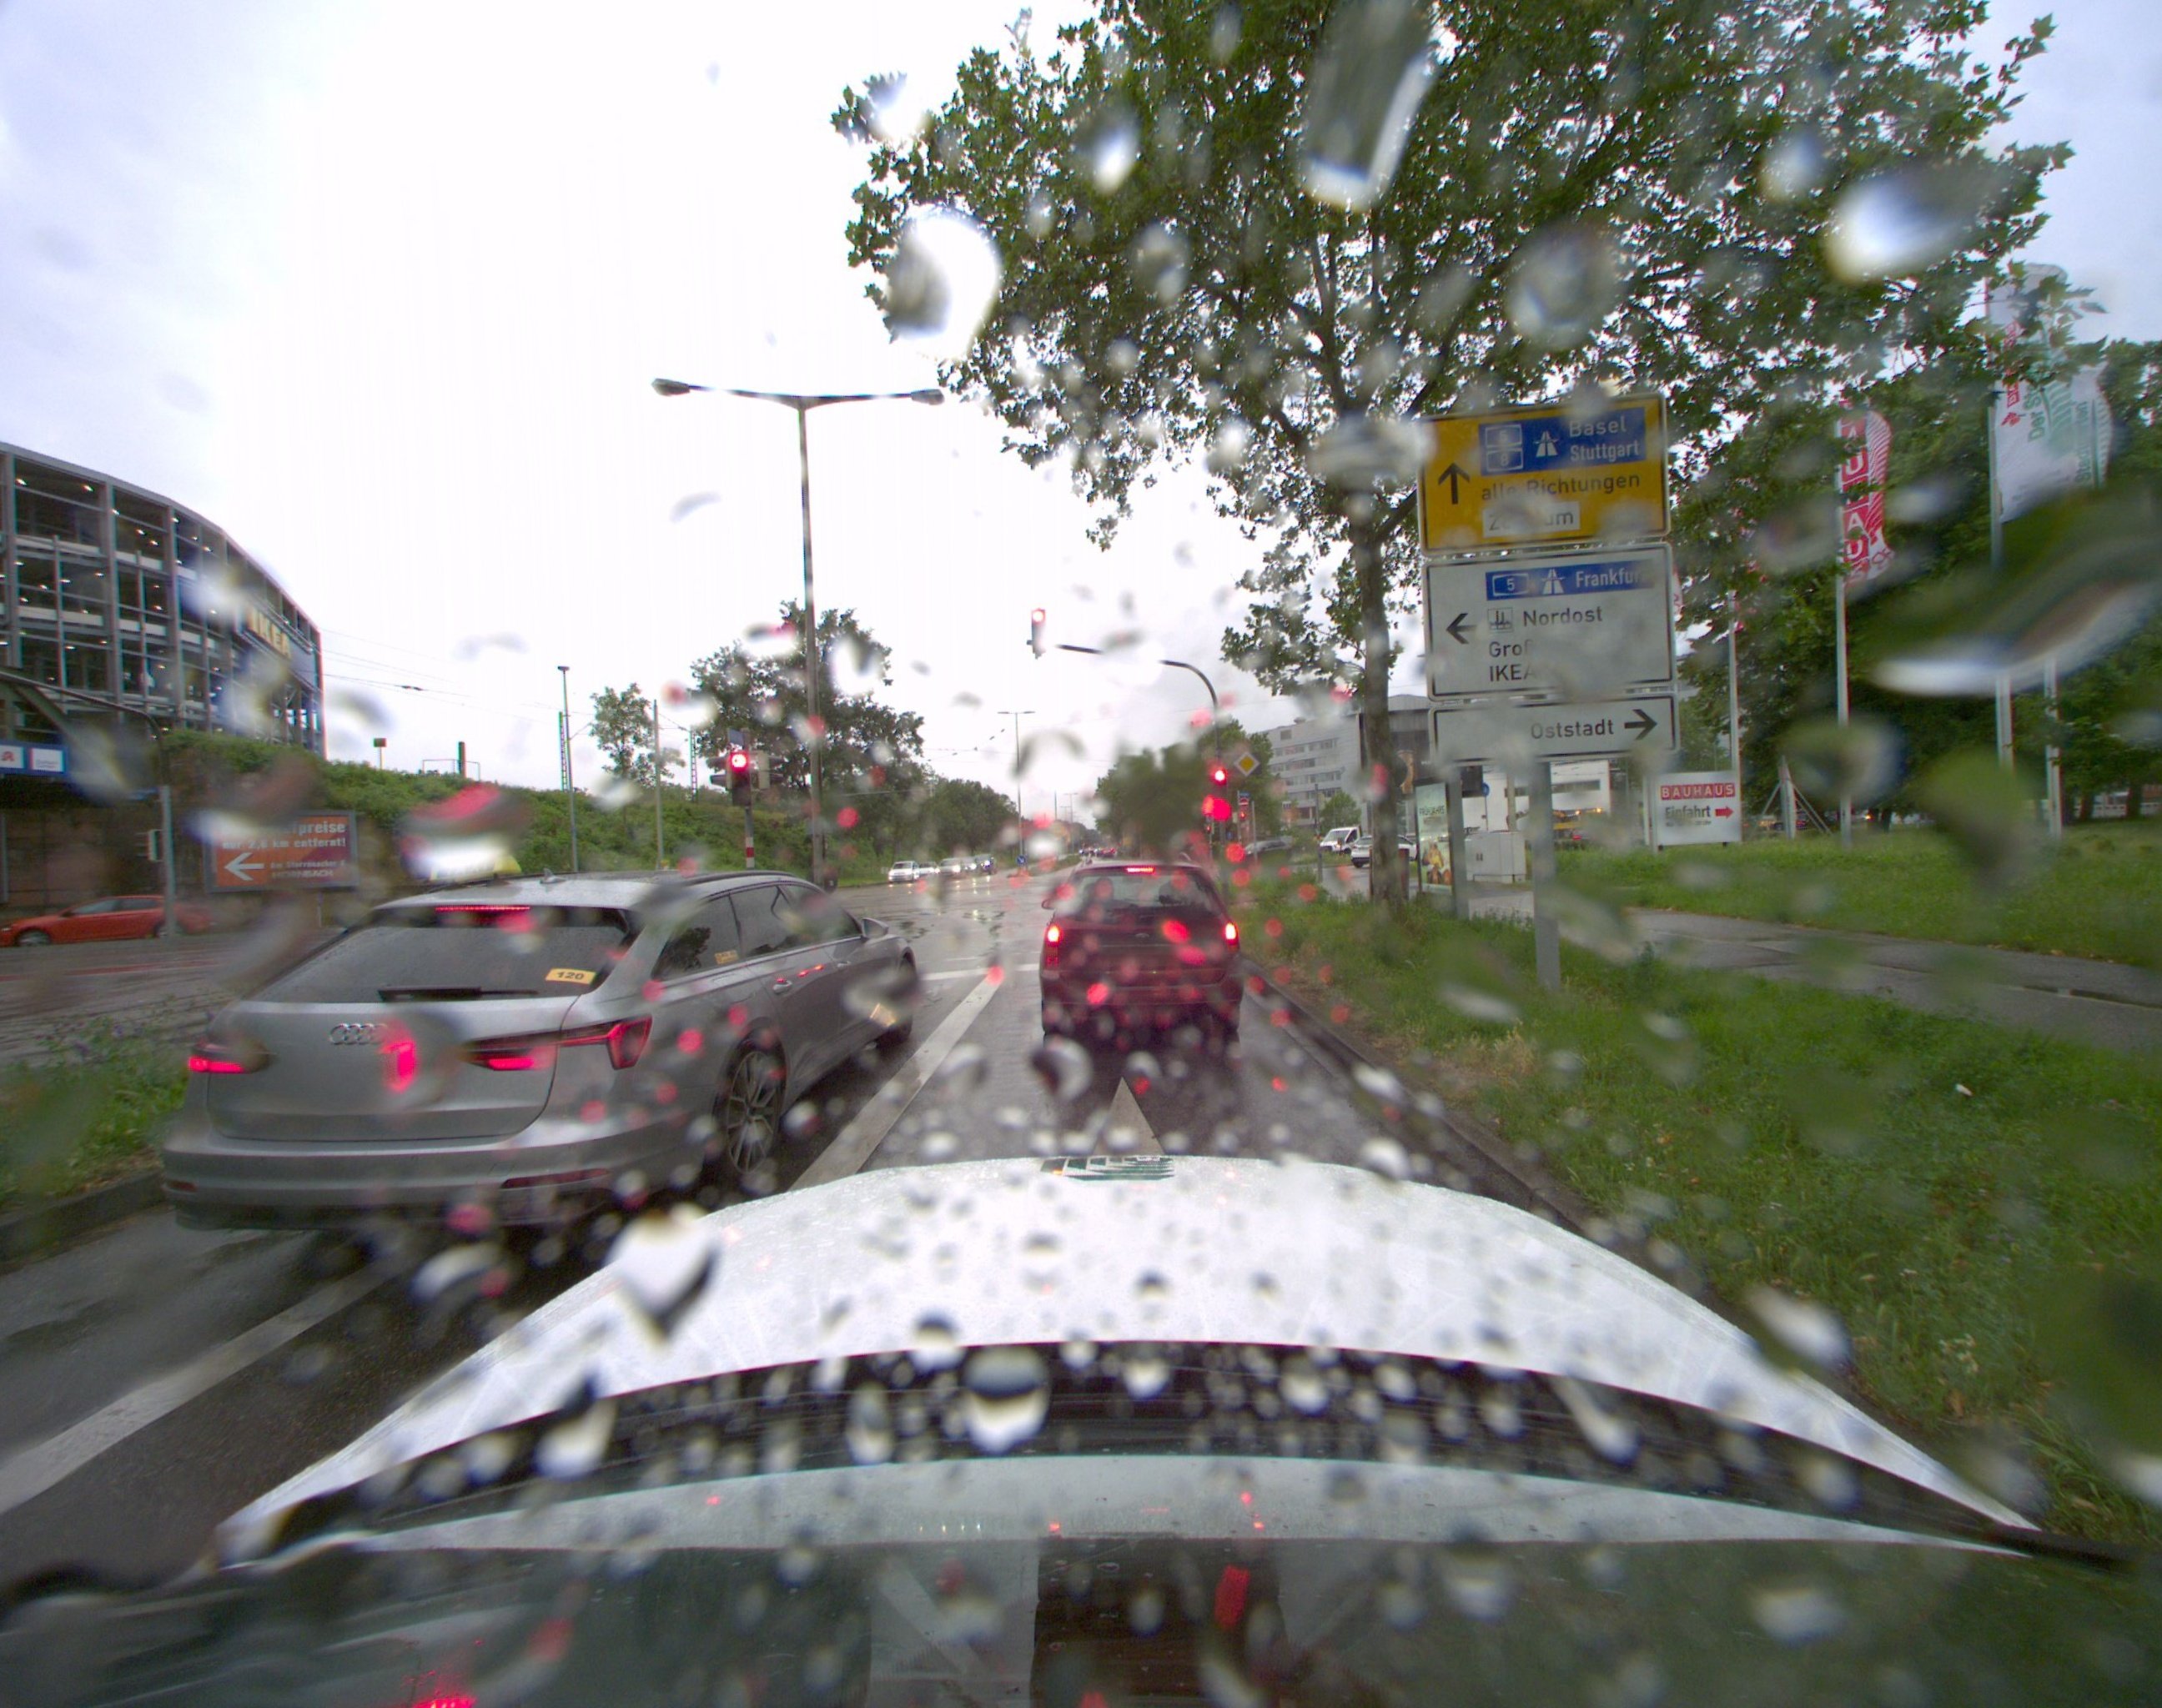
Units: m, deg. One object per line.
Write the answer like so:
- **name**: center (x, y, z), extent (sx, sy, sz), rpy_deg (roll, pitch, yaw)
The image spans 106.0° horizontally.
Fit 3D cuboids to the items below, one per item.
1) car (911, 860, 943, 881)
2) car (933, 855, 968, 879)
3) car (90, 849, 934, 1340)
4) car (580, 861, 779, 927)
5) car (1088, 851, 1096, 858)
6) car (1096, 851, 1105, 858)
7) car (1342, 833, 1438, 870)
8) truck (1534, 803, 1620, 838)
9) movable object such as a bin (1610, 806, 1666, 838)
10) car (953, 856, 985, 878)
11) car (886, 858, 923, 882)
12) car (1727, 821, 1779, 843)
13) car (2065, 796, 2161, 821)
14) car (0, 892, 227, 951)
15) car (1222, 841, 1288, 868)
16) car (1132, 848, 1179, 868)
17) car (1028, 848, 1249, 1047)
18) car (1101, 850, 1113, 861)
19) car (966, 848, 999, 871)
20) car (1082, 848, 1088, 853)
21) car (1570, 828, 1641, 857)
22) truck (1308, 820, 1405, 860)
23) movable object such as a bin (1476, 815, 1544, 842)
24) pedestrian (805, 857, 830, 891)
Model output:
- **car**: center (-11.636, 1.218, 61.871), extent (1.585, 1.404, 3.823), rpy_deg (-3, 0, 1)
- **car**: center (-8.995, 0.869, 56.525), extent (1.632, 1.473, 3.966), rpy_deg (-3, 0, 1)
- **car**: center (-2.276, 0.766, 5.044), extent (1.763, 1.574, 4.822), rpy_deg (0, 0, 1)
- **car**: center (-11.262, 1.061, 22.964), extent (4.847, 1.491, 1.908), rpy_deg (-2, 0, -32)
- **car**: center (2.598, 0.160, 199.289), extent (1.691, 1.528, 3.849), rpy_deg (-3, 0, 3)
- **car**: center (4.543, 0.089, 189.008), extent (1.691, 1.528, 3.849), rpy_deg (-3, 0, 3)
- **car**: center (14.738, -0.142, 38.752), extent (4.644, 1.586, 1.907), rpy_deg (-2, -1, -34)
- **truck**: center (57.980, -3.841, 95.381), extent (3.342, 3.507, 7.806), rpy_deg (-3, 0, -33)
- **movable object such as a bin**: center (66.857, -3.853, 97.651), extent (6.347, 3.507, 3.293), rpy_deg (-3, 0, -34)
- **car**: center (-8.723, 0.985, 63.762), extent (1.756, 1.586, 4.813), rpy_deg (-3, -1, 0)
- **car**: center (-11.967, 1.056, 55.551), extent (1.633, 1.452, 3.786), rpy_deg (-3, 0, 0)
- **car**: center (53.142, -1.725, 64.418), extent (4.645, 1.586, 1.907), rpy_deg (-2, -1, -34)
- **car**: center (88.548, -3.913, 69.309), extent (2.286, 1.731, 5.899), rpy_deg (-3, 0, -33)
- **car**: center (-28.339, 1.923, 23.895), extent (4.229, 1.374, 1.728), rpy_deg (-2, -1, -35)
- **car**: center (11.425, 0.005, 53.285), extent (4.264, 1.559, 1.728), rpy_deg (-3, 0, -35)
- **car**: center (6.675, 0.358, 73.284), extent (2.011, 1.790, 3.952), rpy_deg (0, -1, -42)
- **car**: center (0.459, 0.717, 7.926), extent (1.636, 1.465, 3.732), rpy_deg (0, -1, 1)
- **car**: center (3.948, 0.225, 121.986), extent (1.664, 1.528, 3.849), rpy_deg (-3, 0, 3)
- **car**: center (-8.648, 0.446, 71.870), extent (2.058, 1.819, 5.542), rpy_deg (-3, 0, 1)
- **car**: center (1.161, -1.040, 244.878), extent (1.691, 1.528, 3.849), rpy_deg (-3, 0, 3)
- **car**: center (31.893, -0.701, 49.477), extent (4.645, 1.586, 1.907), rpy_deg (-2, -1, -34)
- **truck**: center (18.452, -0.967, 54.420), extent (6.897, 2.365, 2.455), rpy_deg (-3, 0, -35)
- **movable object such as a bin**: center (53.782, -3.191, 102.163), extent (3.342, 2.995, 6.650), rpy_deg (-3, 0, -34)
- **pedestrian**: center (-14.941, 1.101, 46.203), extent (1.102, 1.847, 1.126), rpy_deg (-3, 0, -10)
